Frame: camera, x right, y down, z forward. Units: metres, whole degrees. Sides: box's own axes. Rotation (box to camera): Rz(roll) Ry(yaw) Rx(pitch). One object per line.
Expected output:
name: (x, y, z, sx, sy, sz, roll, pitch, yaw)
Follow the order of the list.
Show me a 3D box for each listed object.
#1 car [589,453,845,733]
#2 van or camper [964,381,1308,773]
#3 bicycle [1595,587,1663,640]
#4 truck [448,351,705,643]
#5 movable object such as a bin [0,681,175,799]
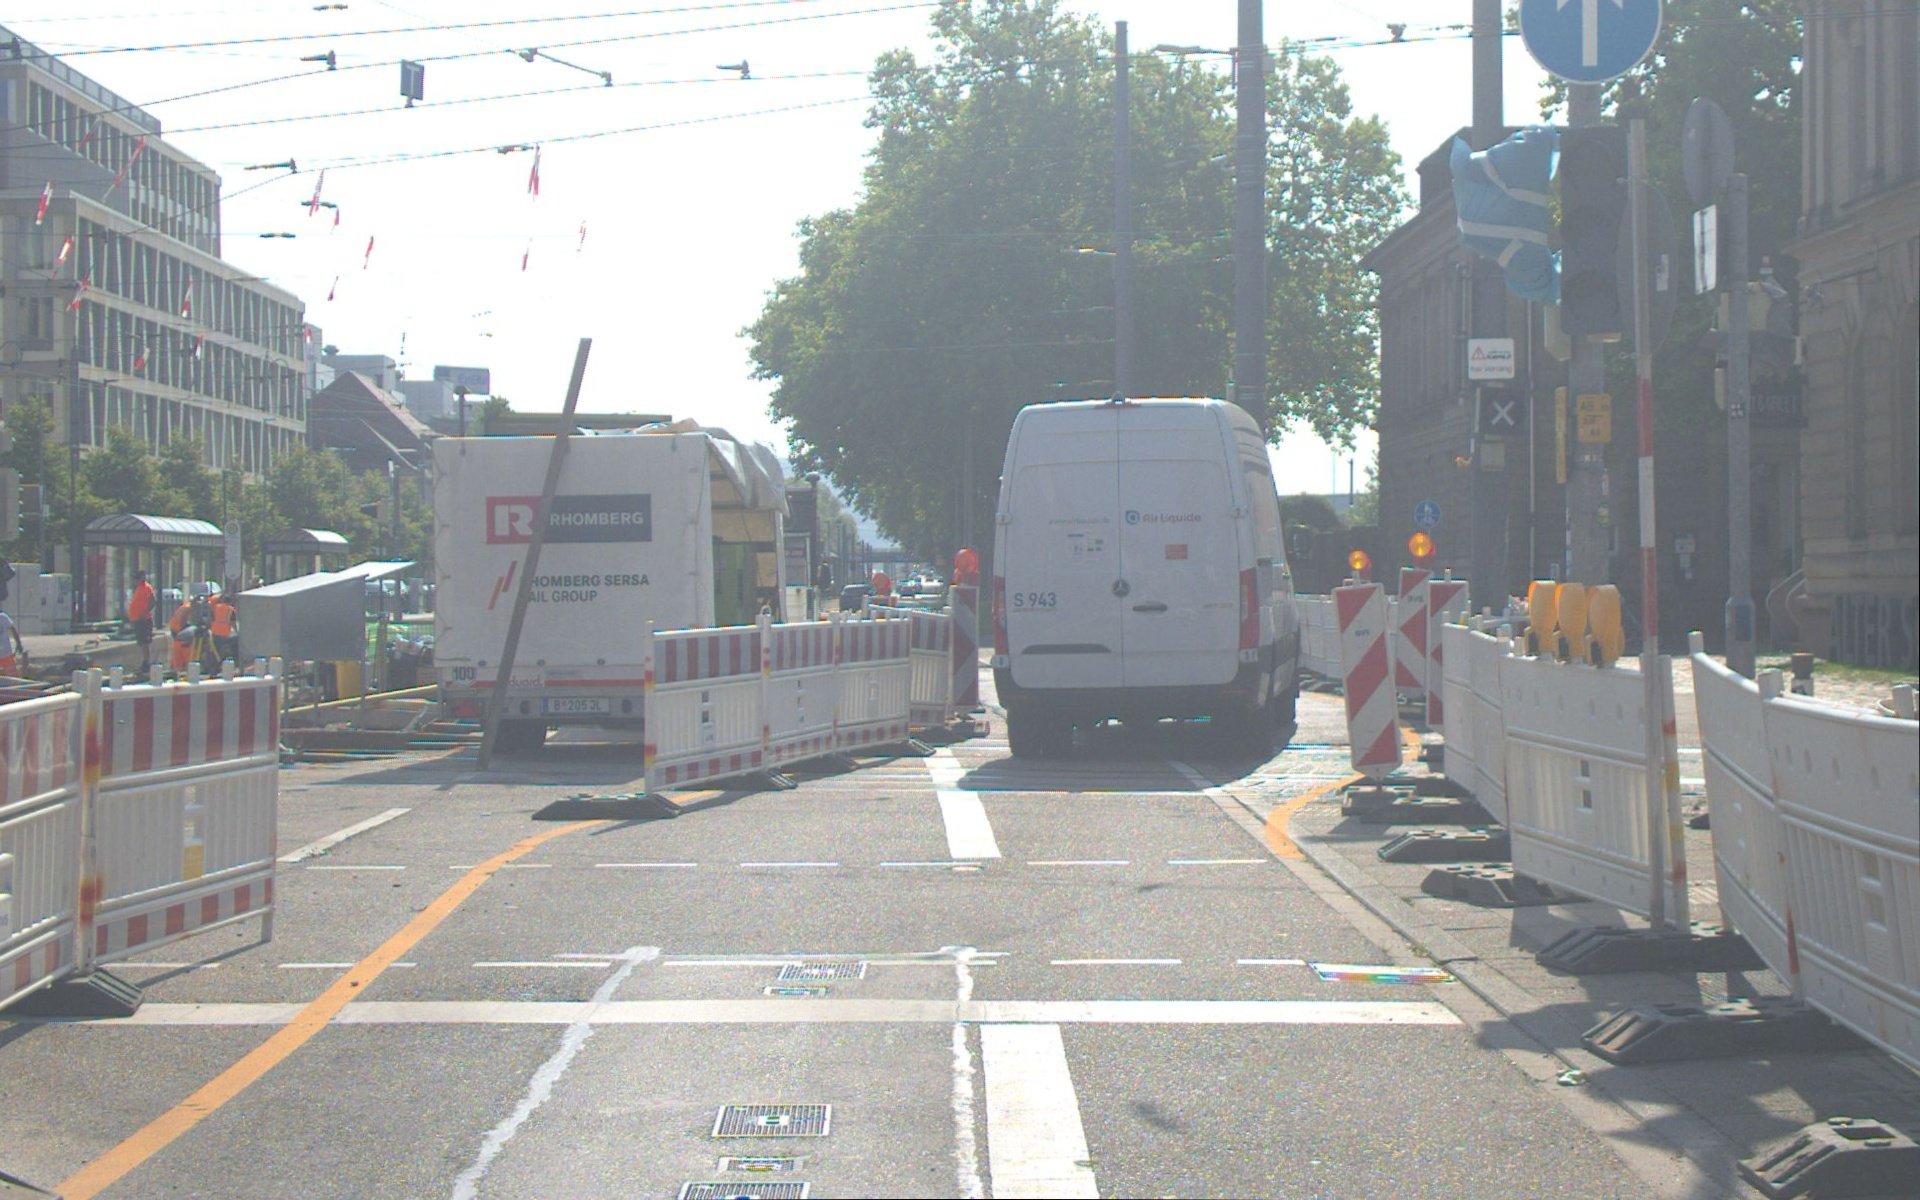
car: (-2.315, -0.060, 33.536, 2.207, 2.416, 7.200, 0, 0, -3)
van or camper: (1.497, -0.206, 26.779, 2.116, 2.673, 5.249, -2, 1, 8)
bicycle: (13.572, 0.265, 69.799, 0.491, 0.996, 1.819, 0, 3, -19)
truck: (-5.820, -1.452, 50.930, 2.791, 3.899, 8.421, 1, 1, -13)
movable object such as a bin: (-5.969, 0.892, 22.298, 1.721, 0.711, 0.716, -1, 0, 33)
